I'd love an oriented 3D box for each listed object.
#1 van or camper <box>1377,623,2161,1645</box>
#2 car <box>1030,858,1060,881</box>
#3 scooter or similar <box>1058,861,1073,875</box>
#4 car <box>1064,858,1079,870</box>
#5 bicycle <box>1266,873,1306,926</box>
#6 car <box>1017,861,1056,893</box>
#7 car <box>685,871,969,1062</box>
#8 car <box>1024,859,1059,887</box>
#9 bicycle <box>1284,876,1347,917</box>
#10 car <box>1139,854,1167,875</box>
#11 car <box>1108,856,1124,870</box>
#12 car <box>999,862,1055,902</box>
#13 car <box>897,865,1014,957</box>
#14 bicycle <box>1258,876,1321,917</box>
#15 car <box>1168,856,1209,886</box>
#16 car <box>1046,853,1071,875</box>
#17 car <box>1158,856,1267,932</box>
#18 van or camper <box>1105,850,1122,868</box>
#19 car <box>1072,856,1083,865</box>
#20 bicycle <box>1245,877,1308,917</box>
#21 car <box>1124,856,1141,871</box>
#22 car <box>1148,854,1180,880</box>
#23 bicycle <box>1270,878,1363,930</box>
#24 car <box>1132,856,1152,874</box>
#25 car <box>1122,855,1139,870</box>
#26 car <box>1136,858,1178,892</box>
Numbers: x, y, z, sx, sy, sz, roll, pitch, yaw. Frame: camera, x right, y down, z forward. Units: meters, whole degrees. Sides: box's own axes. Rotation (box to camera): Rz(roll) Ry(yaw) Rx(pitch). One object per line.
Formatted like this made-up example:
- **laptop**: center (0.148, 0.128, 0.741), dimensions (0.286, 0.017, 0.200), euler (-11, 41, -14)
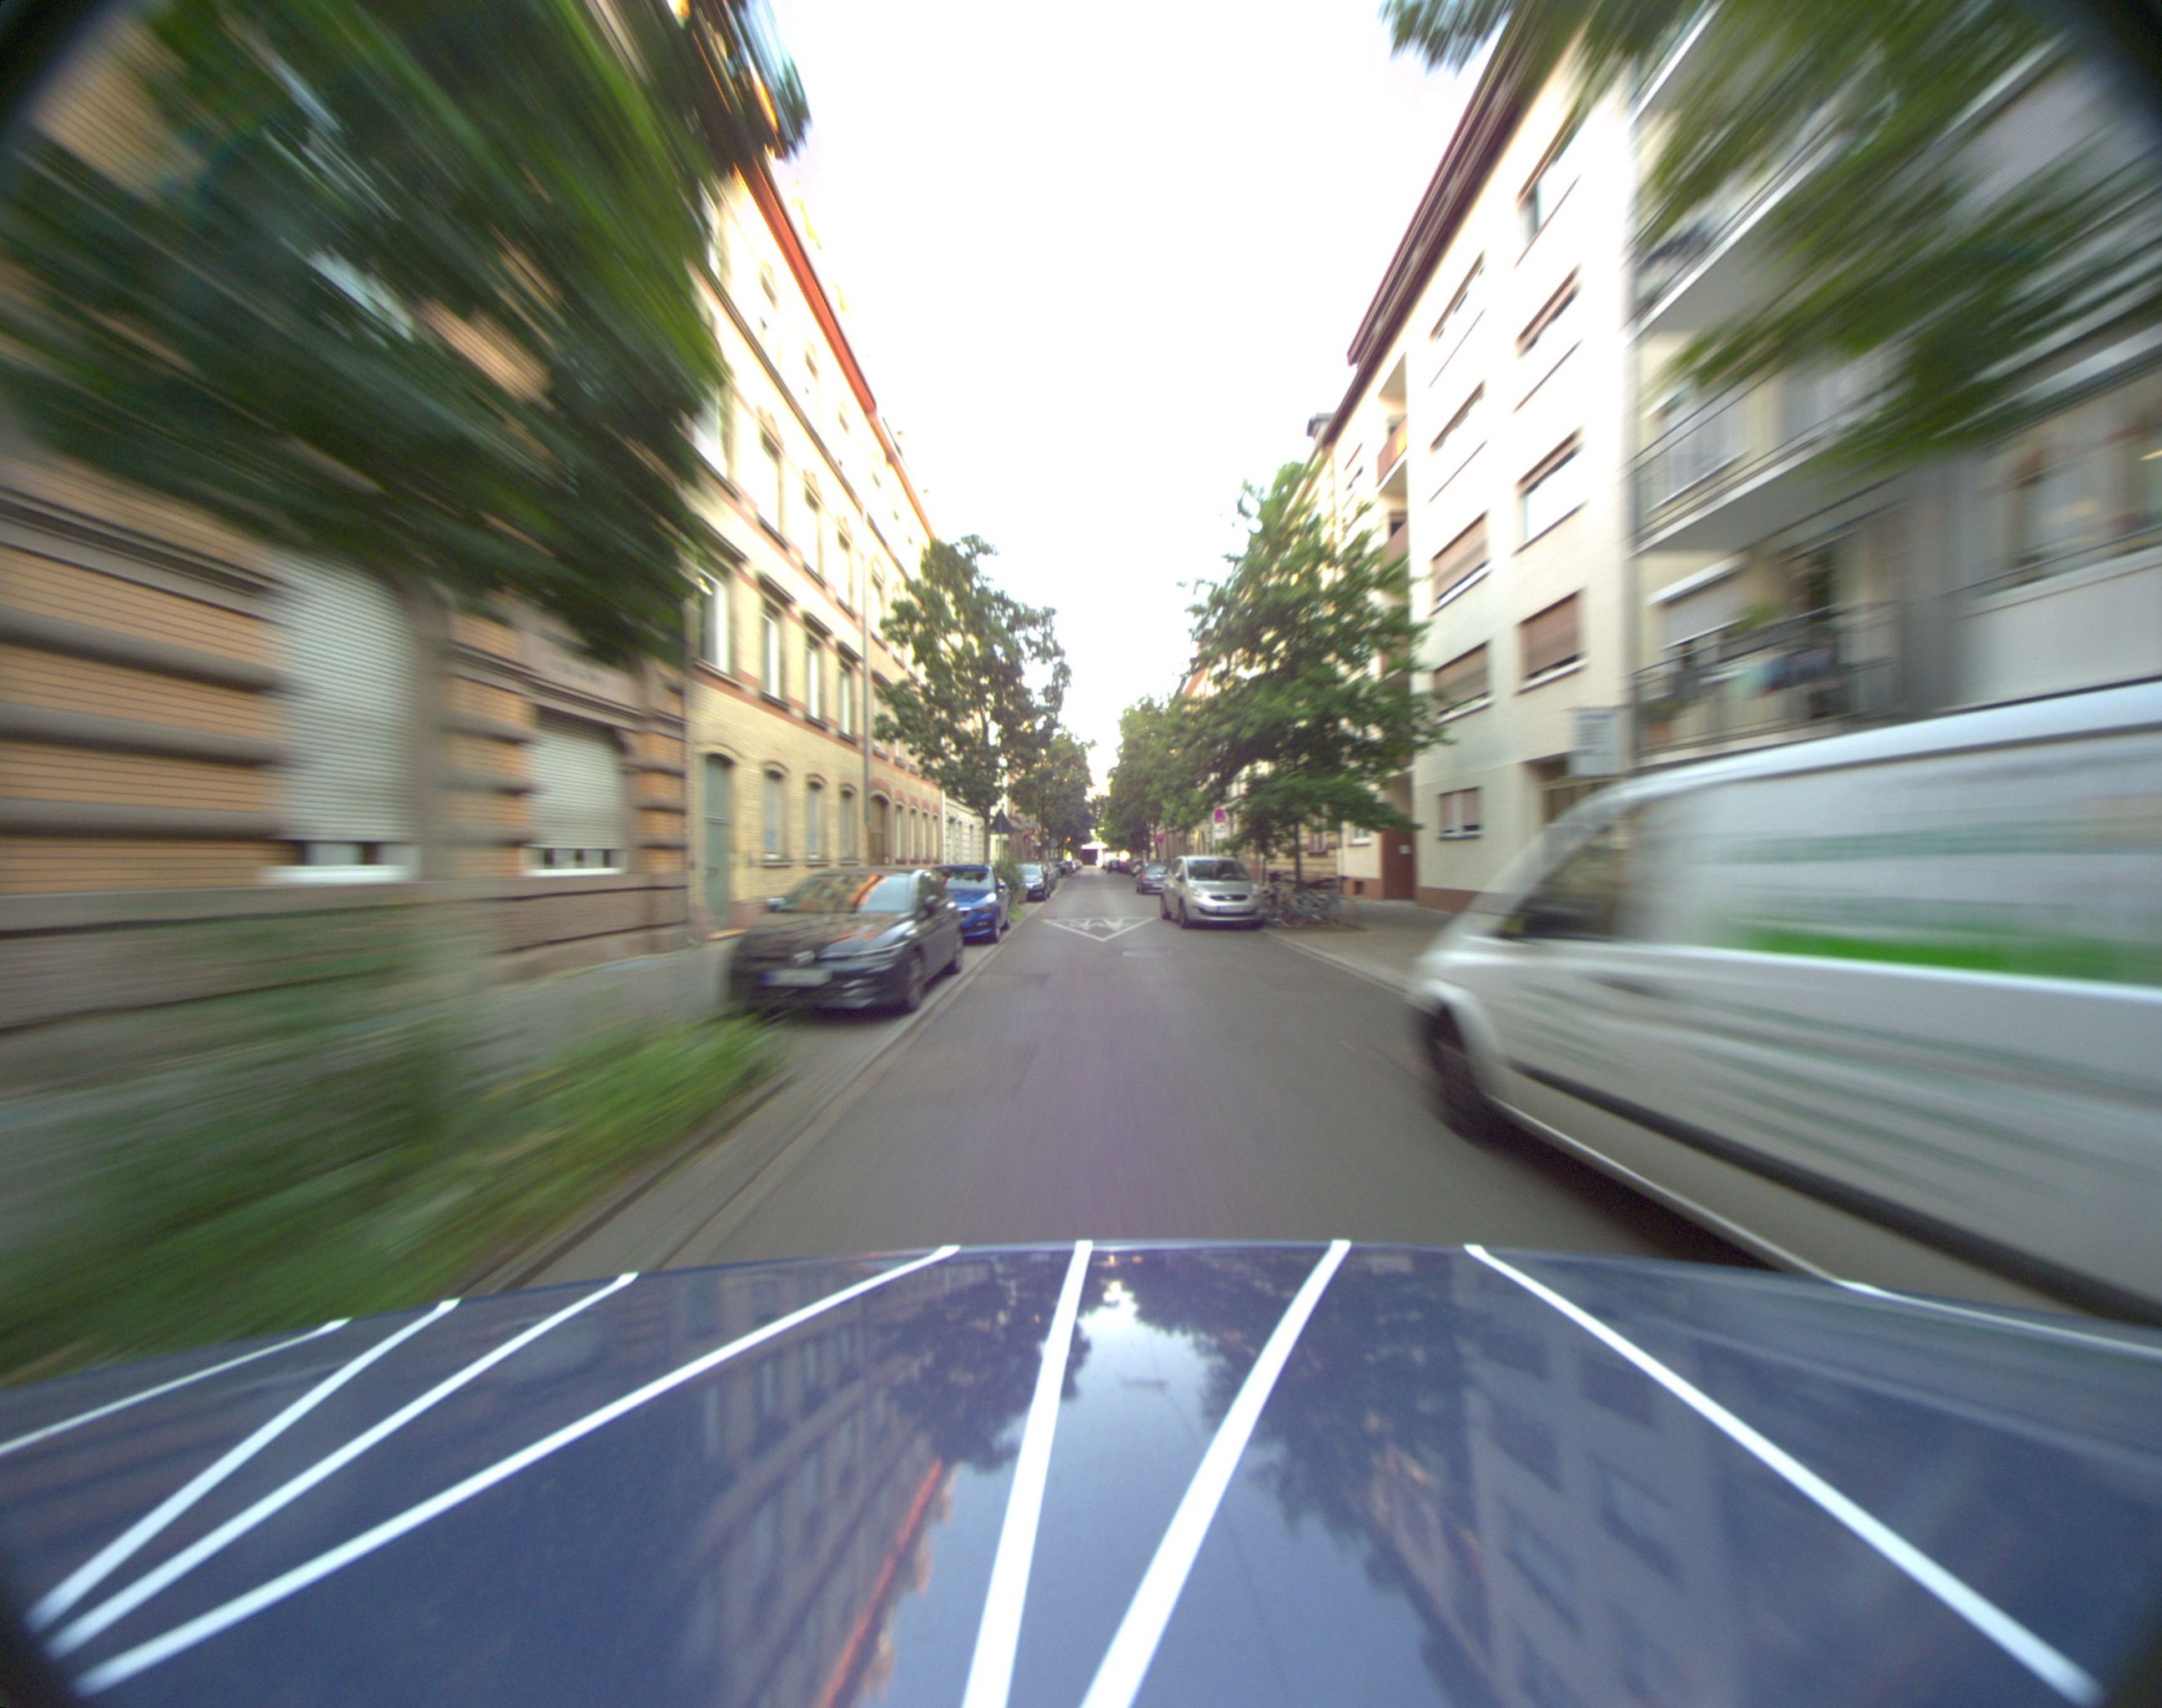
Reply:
- **van or camper**: center (2.855, 0.498, 2.438), dimensions (1.881, 1.832, 4.752), euler (-1, 0, -1)
- **car**: center (-2.366, 0.975, 50.767), dimensions (1.763, 1.454, 4.308), euler (-1, 0, 0)
- **scooter or similar**: center (-1.324, 1.177, 64.229), dimensions (0.673, 1.183, 1.118), euler (2, 1, 40)
- **car**: center (-1.183, 1.260, 95.692), dimensions (1.737, 1.482, 4.104), euler (-1, 0, 1)
- **bicycle**: center (4.637, 1.004, 17.269), dimensions (0.420, 1.097, 1.665), euler (-2, 0, 0)
- **car**: center (-2.082, 1.049, 36.237), dimensions (1.640, 1.415, 3.564), euler (0, 0, 0)
- **car**: center (-2.427, 0.988, 8.444), dimensions (1.716, 1.469, 4.192), euler (-1, 0, 0)
- **car**: center (-2.131, 1.016, 41.848), dimensions (1.721, 1.467, 4.367), euler (0, 0, -1)
- **bicycle**: center (5.707, 1.010, 18.426), dimensions (1.667, 0.893, 0.383), euler (-2, 1, -29)
- **car**: center (5.611, 0.785, 59.622), dimensions (1.810, 1.509, 4.685), euler (-3, 0, 1)
- **car**: center (4.148, 1.004, 90.297), dimensions (1.728, 1.564, 4.220), euler (-1, 0, 1)
- **car**: center (-2.067, 1.033, 30.040), dimensions (1.771, 1.406, 4.474), euler (1, 0, 1)
- **car**: center (-2.291, 0.987, 14.867), dimensions (1.632, 1.458, 4.245), euler (-1, 0, -1)
- **bicycle**: center (5.168, 1.042, 18.804), dimensions (1.707, 0.893, 0.383), euler (-2, 1, -29)
- **car**: center (5.589, 0.834, 39.909), dimensions (1.591, 1.428, 3.566), euler (-3, 0, 0)
- **car**: center (-1.993, 0.872, 68.466), dimensions (2.018, 1.822, 4.811), euler (1, 0, 1)
- **car**: center (2.923, 0.831, 17.704), dimensions (1.668, 1.554, 3.999), euler (-1, 0, -2)
- **van or camper**: center (4.700, 0.707, 110.949), dimensions (2.225, 2.416, 5.660), euler (-1, 0, 1)
- **car**: center (-0.595, 1.185, 133.046), dimensions (1.835, 1.530, 4.124), euler (-1, 0, 0)
- **bicycle**: center (4.954, 1.075, 19.210), dimensions (1.707, 0.902, 0.383), euler (-2, 1, -29)
- **car**: center (5.561, 0.967, 82.109), dimensions (1.523, 1.493, 3.561), euler (-3, 0, 1)
- **car**: center (5.533, 0.869, 51.066), dimensions (1.710, 1.571, 4.078), euler (-3, 0, 2)
- **bicycle**: center (4.849, 1.004, 15.675), dimensions (1.726, 0.989, 0.578), euler (-1, 0, 34)
- **car**: center (5.562, 0.973, 69.410), dimensions (1.680, 1.598, 3.862), euler (-2, 0, 3)
- **car**: center (5.575, 0.958, 86.052), dimensions (1.695, 1.493, 3.711), euler (-3, 0, 0)
- **car**: center (3.405, 0.916, 34.637), dimensions (1.584, 1.411, 3.753), euler (-1, 0, 0)
